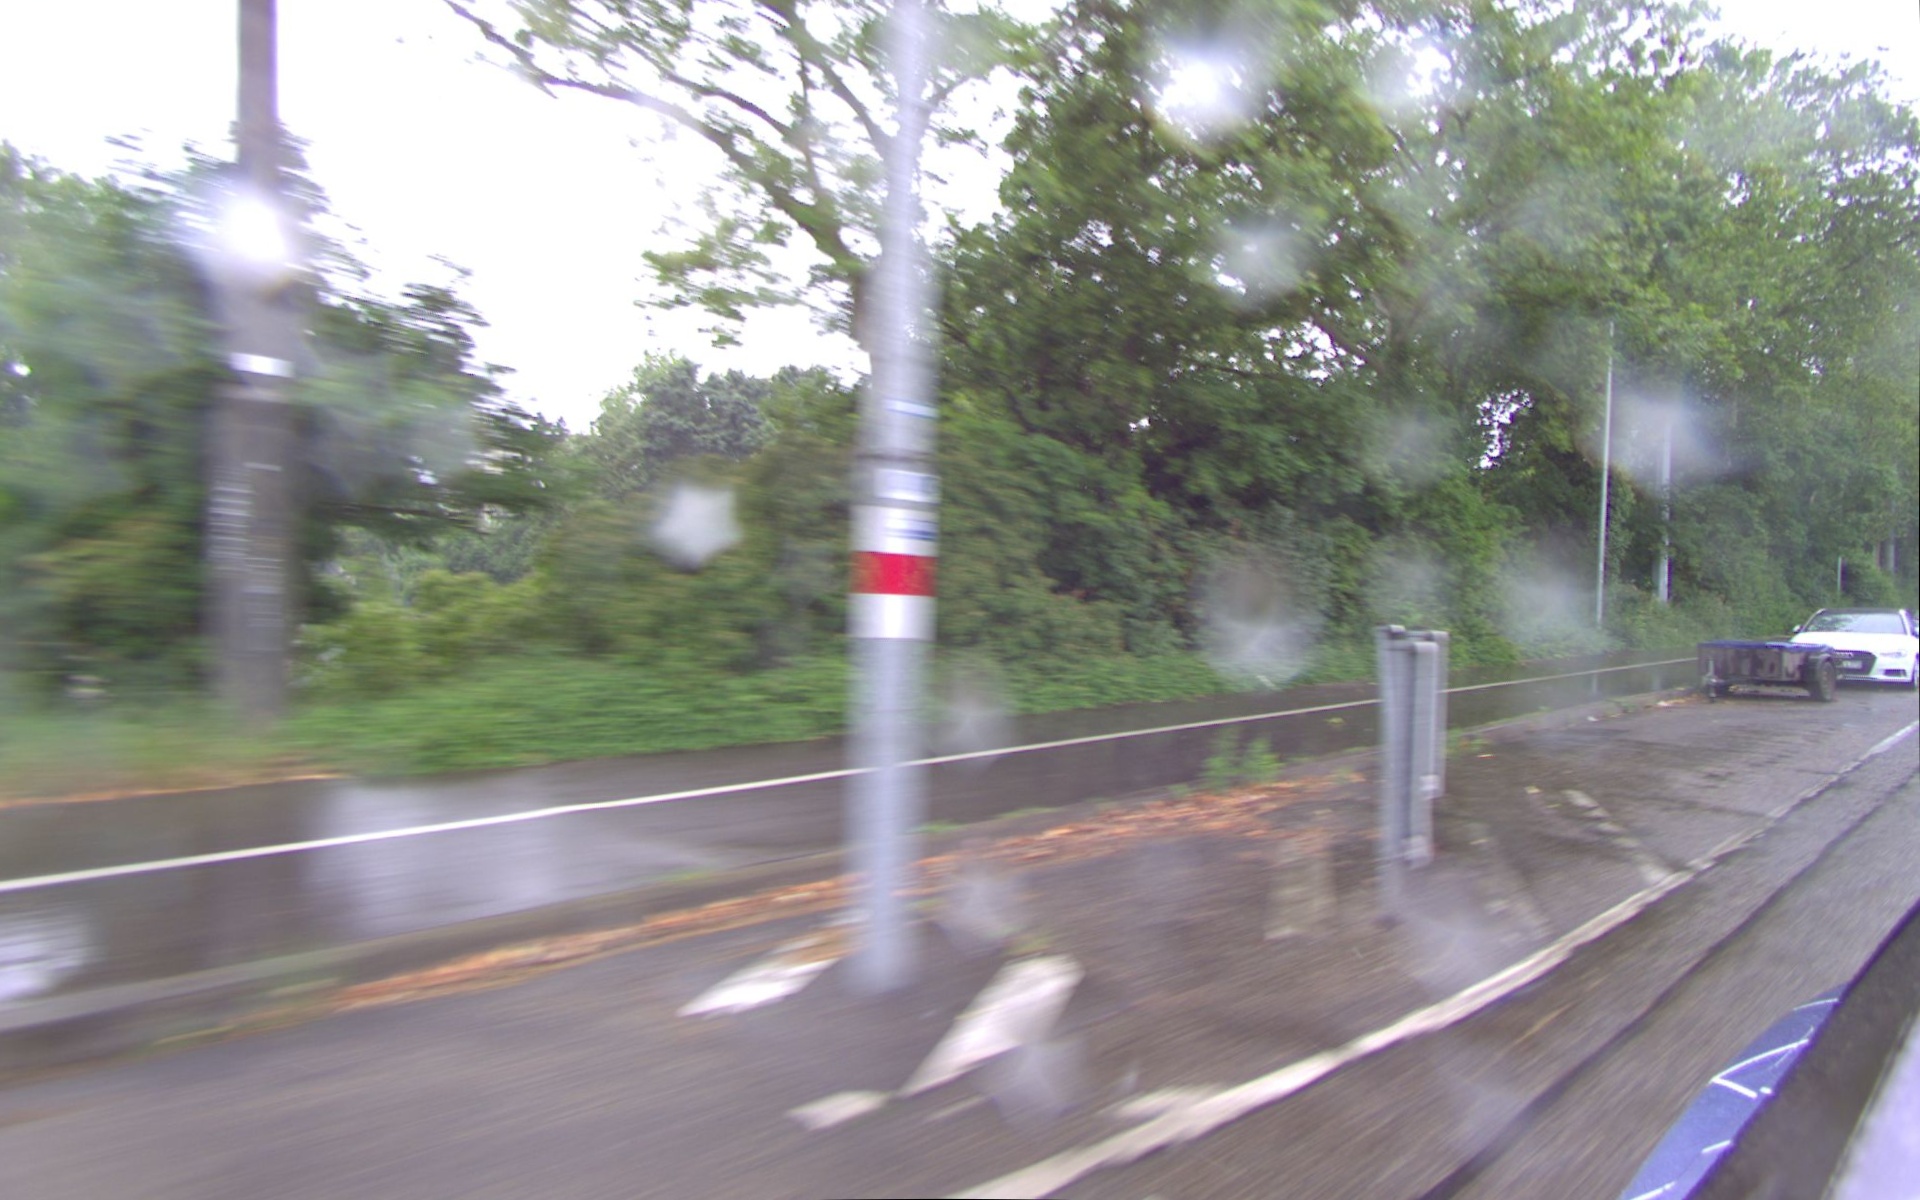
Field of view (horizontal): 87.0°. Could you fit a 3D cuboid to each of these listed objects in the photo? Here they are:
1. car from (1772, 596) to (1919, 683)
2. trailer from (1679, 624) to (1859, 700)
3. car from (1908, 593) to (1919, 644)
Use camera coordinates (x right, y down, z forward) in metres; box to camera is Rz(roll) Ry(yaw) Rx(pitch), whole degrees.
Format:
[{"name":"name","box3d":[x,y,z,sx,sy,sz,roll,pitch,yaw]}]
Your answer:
[{"name":"car","box3d":[16.622,0.664,18.557,4.122,1.421,1.997,1,0,-41]},{"name":"trailer","box3d":[12.096,0.861,15.073,3.218,0.949,1.545,1,0,-41]},{"name":"car","box3d":[30.816,0.580,31.140,4.122,1.525,1.997,1,-1,-41]}]
